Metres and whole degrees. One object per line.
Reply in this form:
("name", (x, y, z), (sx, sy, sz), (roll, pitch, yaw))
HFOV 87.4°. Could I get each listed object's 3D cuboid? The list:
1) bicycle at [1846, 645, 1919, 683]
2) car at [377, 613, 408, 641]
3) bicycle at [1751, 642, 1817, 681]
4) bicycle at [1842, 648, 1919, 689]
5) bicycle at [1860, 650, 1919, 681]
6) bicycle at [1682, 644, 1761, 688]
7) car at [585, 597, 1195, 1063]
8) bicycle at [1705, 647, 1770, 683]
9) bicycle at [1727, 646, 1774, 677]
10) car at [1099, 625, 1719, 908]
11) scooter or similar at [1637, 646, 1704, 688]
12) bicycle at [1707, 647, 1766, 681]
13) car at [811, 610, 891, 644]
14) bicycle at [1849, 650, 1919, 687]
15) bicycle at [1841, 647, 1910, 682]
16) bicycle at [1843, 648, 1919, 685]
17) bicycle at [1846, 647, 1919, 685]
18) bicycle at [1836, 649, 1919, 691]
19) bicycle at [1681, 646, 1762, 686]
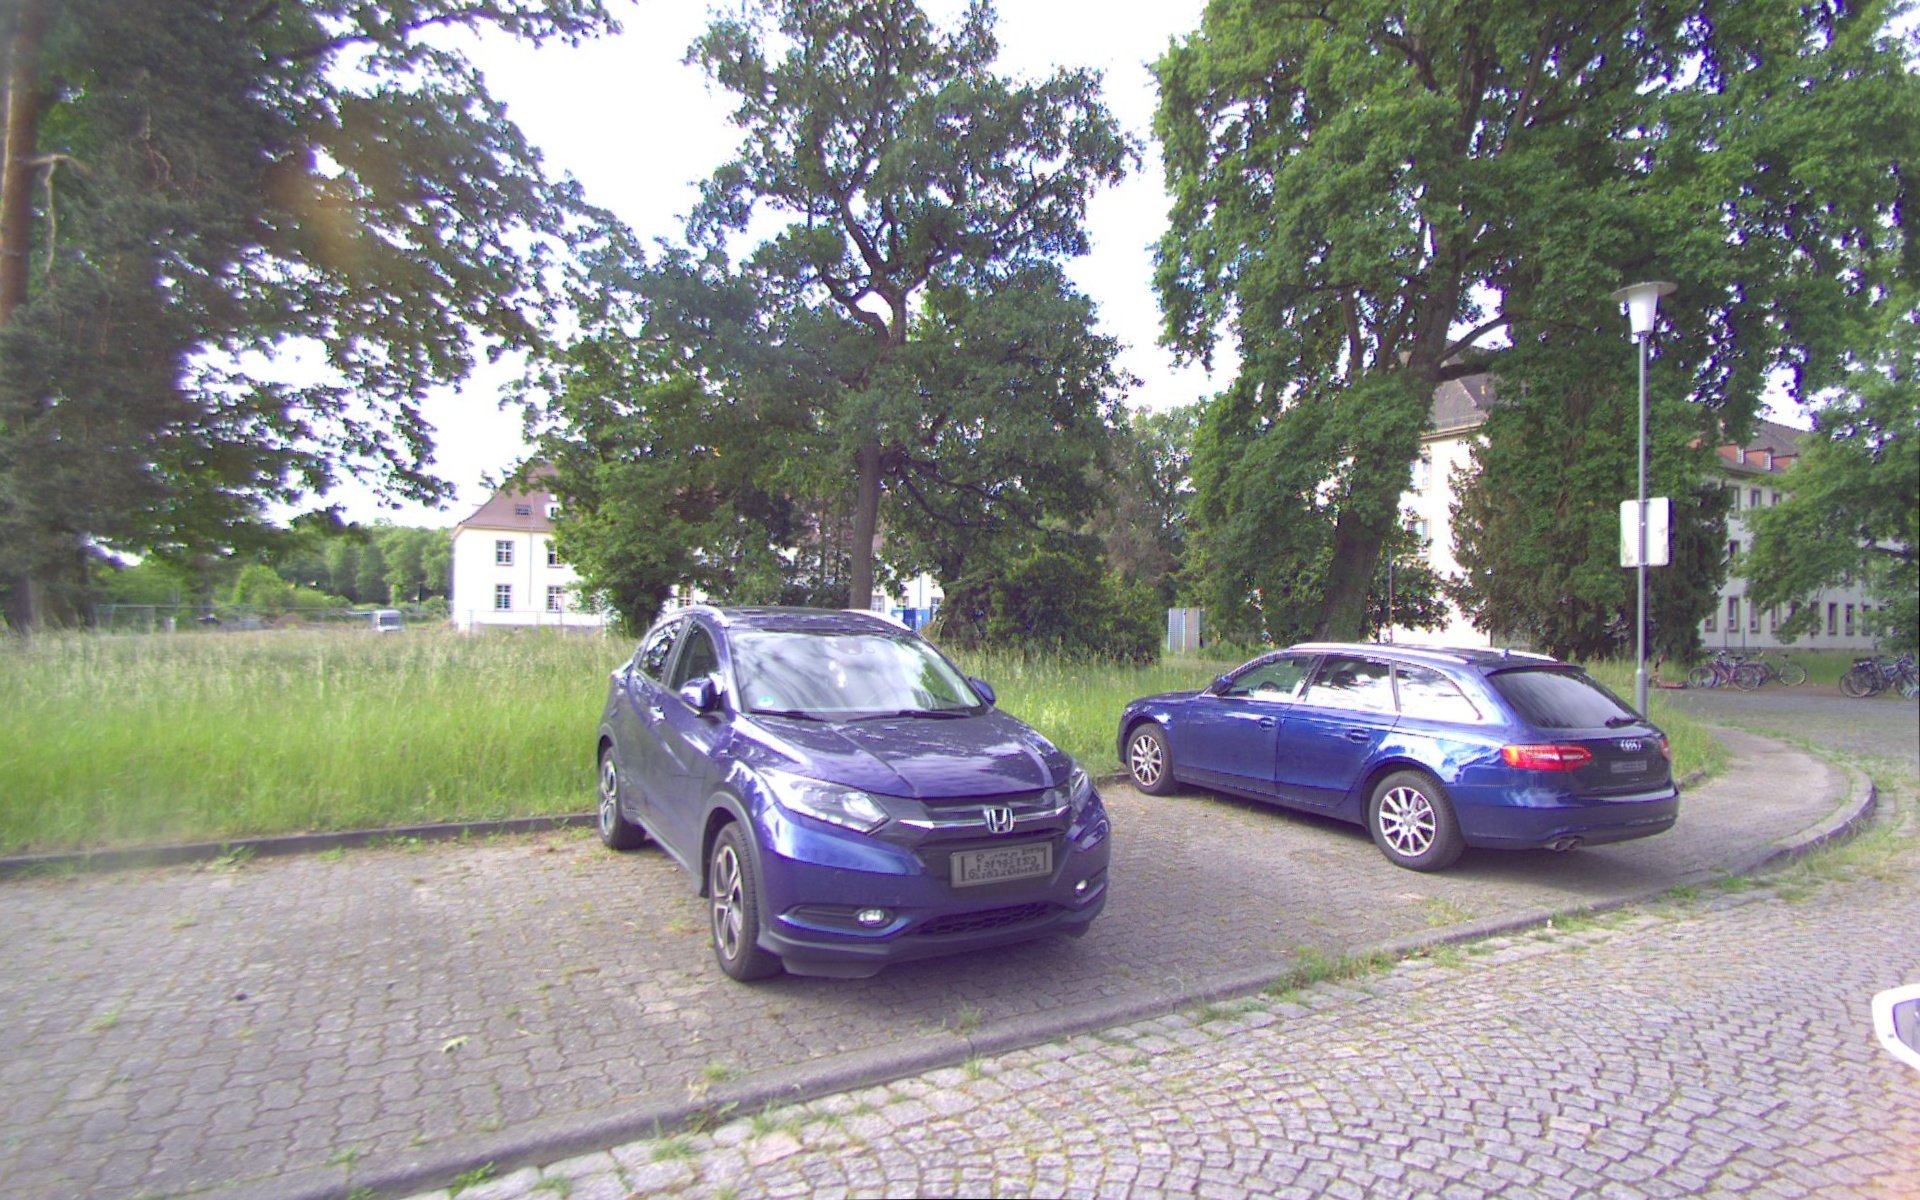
("bicycle", (28.963, 2.005, 31.555), (1.678, 1.131, 0.539), (-2, -1, 42))
("car", (-46.528, 2.198, 82.310), (2.017, 2.040, 4.192), (2, 1, -32))
("bicycle", (27.044, 2.021, 32.991), (1.617, 1.201, 0.572), (0, 1, 35))
("bicycle", (26.389, 1.935, 28.689), (1.773, 1.118, 0.699), (-2, -1, 42))
("bicycle", (29.912, 2.086, 32.179), (1.598, 0.923, 0.524), (-2, -1, 42))
("bicycle", (23.120, 1.987, 30.501), (1.874, 1.239, 0.640), (0, 1, 42))
("car", (-0.791, 0.836, 5.686), (1.770, 1.594, 4.117), (2, -2, -31))
("bicycle", (24.784, 2.055, 32.044), (1.601, 1.088, 0.538), (0, 1, 31))
("bicycle", (27.481, 2.126, 34.938), (1.245, 1.042, 0.432), (-2, -5, 42))
("car", (3.081, 0.994, 7.964), (1.661, 1.499, 4.413), (1, -1, -28))
("scooter or similar", (21.980, 2.051, 31.094), (0.673, 1.211, 1.543), (0, -1, -26))
("bicycle", (25.671, 2.100, 33.217), (1.489, 1.049, 0.544), (0, 1, 31))
("car", (-8.046, 2.011, 74.563), (5.467, 2.237, 2.109), (3, 1, -30))
("bicycle", (26.950, 1.969, 29.159), (1.672, 1.015, 0.629), (-2, -1, 42))
("bicycle", (29.210, 2.036, 32.073), (1.598, 1.073, 0.524), (-2, -1, 42))
("bicycle", (27.471, 1.963, 29.780), (1.932, 1.018, 0.683), (-2, -1, 42))
("bicycle", (28.645, 2.017, 31.111), (1.751, 1.120, 0.539), (-2, -1, 42))
("bicycle", (25.786, 1.948, 28.233), (1.748, 1.118, 0.699), (-2, -1, 42))
("bicycle", (23.516, 2.022, 31.053), (1.963, 1.129, 0.640), (0, 1, 42))
